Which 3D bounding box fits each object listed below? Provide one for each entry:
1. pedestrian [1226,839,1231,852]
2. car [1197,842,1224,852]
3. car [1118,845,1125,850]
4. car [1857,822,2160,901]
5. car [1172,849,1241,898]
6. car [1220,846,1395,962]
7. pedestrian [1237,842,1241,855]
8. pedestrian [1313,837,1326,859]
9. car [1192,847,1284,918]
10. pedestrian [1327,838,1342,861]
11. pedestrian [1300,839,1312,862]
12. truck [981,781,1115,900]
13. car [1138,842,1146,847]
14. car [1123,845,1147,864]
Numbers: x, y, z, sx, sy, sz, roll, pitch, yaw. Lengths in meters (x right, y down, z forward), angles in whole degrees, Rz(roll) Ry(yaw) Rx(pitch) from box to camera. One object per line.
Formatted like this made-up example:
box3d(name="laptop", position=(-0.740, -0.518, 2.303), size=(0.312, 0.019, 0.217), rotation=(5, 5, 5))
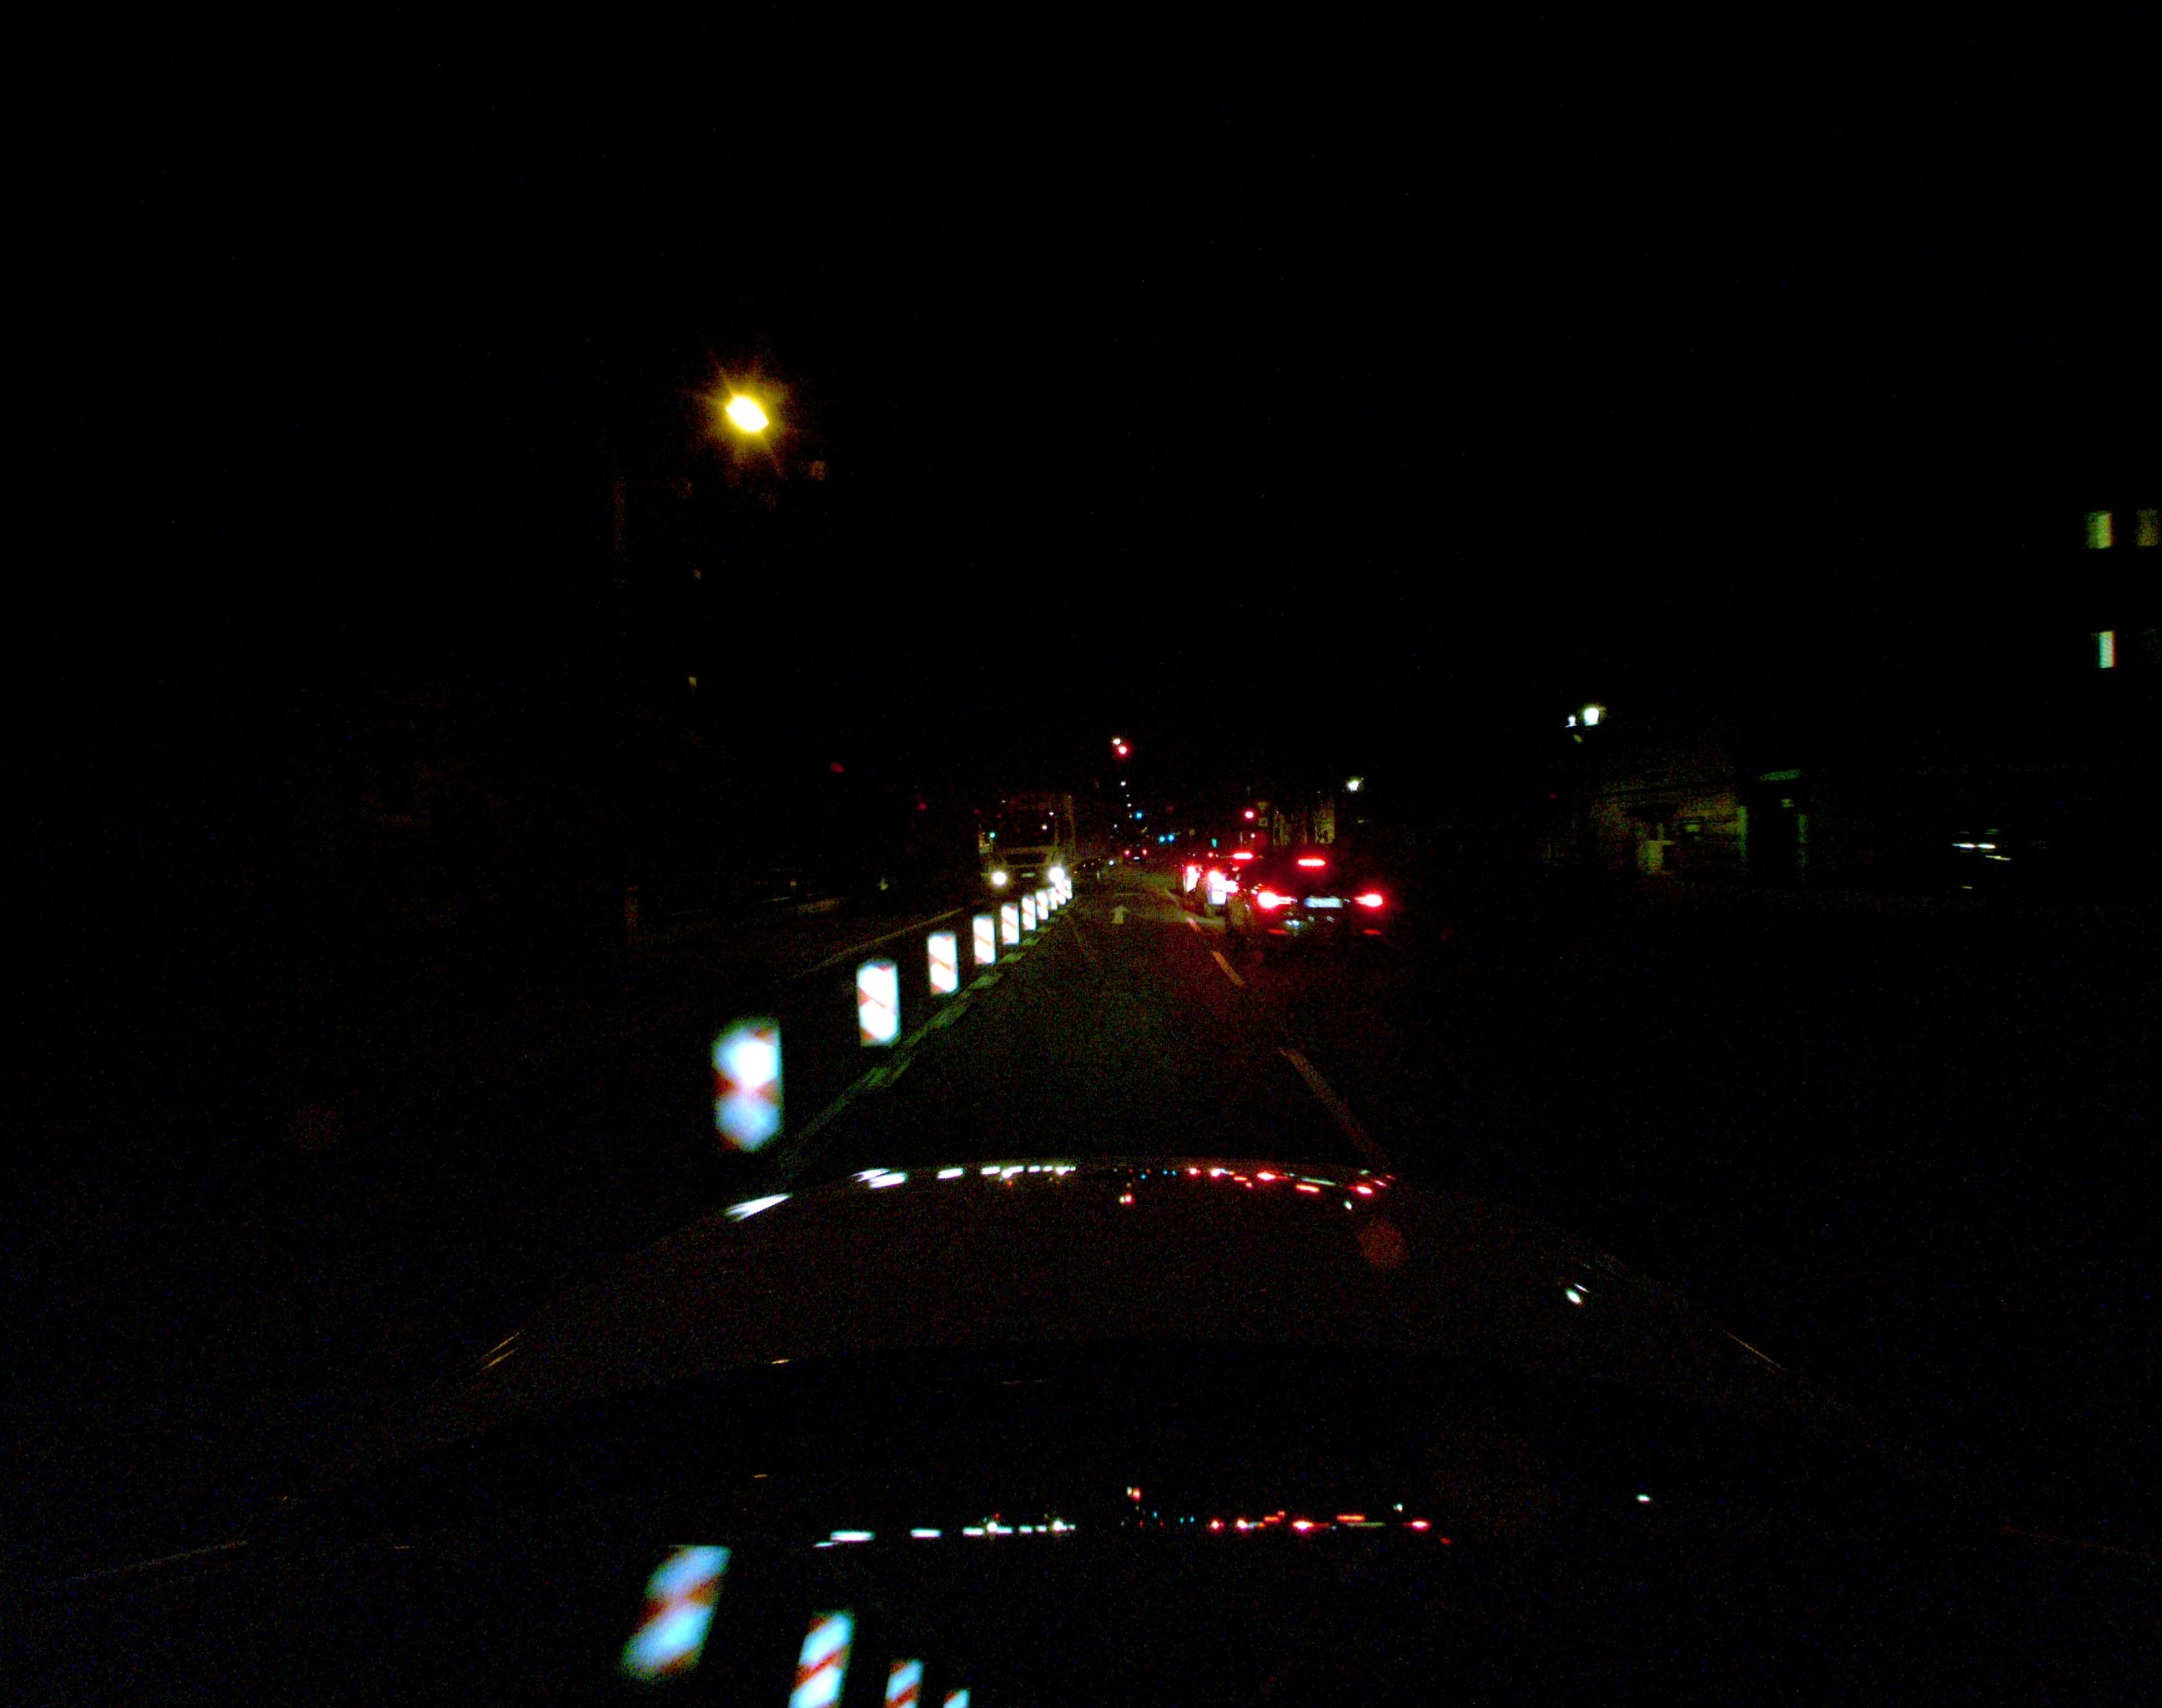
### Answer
box3d(name="pedestrian", position=(22.555, -1.288, 124.460), size=(0.529, 2.013, 0.670), rotation=(-2, 0, 3))
box3d(name="car", position=(19.219, -1.021, 121.012), size=(3.966, 1.386, 1.774), rotation=(-2, 1, 6))
box3d(name="car", position=(11.593, -1.942, 234.507), size=(1.771, 1.390, 4.002), rotation=(-2, 1, 2))
box3d(name="car", position=(19.181, 0.118, 17.213), size=(1.506, 1.395, 4.487), rotation=(-2, 0, 4))
box3d(name="car", position=(3.904, 0.553, 25.943), size=(1.722, 1.435, 4.213), rotation=(0, 0, 2))
box3d(name="car", position=(3.352, 0.636, 12.982), size=(1.797, 1.494, 4.735), rotation=(0, 0, 4))
box3d(name="pedestrian", position=(24.191, -0.845, 124.403), size=(0.486, 2.013, 0.551), rotation=(-2, 0, 3))
box3d(name="pedestrian", position=(19.083, -0.485, 65.090), size=(0.735, 1.769, 0.908), rotation=(-2, 0, 3))
box3d(name="car", position=(3.616, 0.590, 19.368), size=(1.630, 1.494, 4.004), rotation=(0, 0, 3))
box3d(name="pedestrian", position=(20.229, -0.373, 64.949), size=(0.897, 1.769, 0.908), rotation=(-2, 0, 3))
box3d(name="pedestrian", position=(17.970, -0.293, 65.018), size=(0.711, 1.769, 0.908), rotation=(-2, 0, 3))
box3d(name="truck", position=(-0.892, -0.485, 31.421), size=(2.738, 3.717, 10.144), rotation=(-3, 0, 11))
box3d(name="car", position=(18.618, -2.840, 248.980), size=(1.986, 1.596, 4.001), rotation=(-2, 0, 1))
box3d(name="car", position=(4.932, 0.039, 74.825), size=(1.986, 1.640, 4.002), rotation=(-2, 0, 2))
